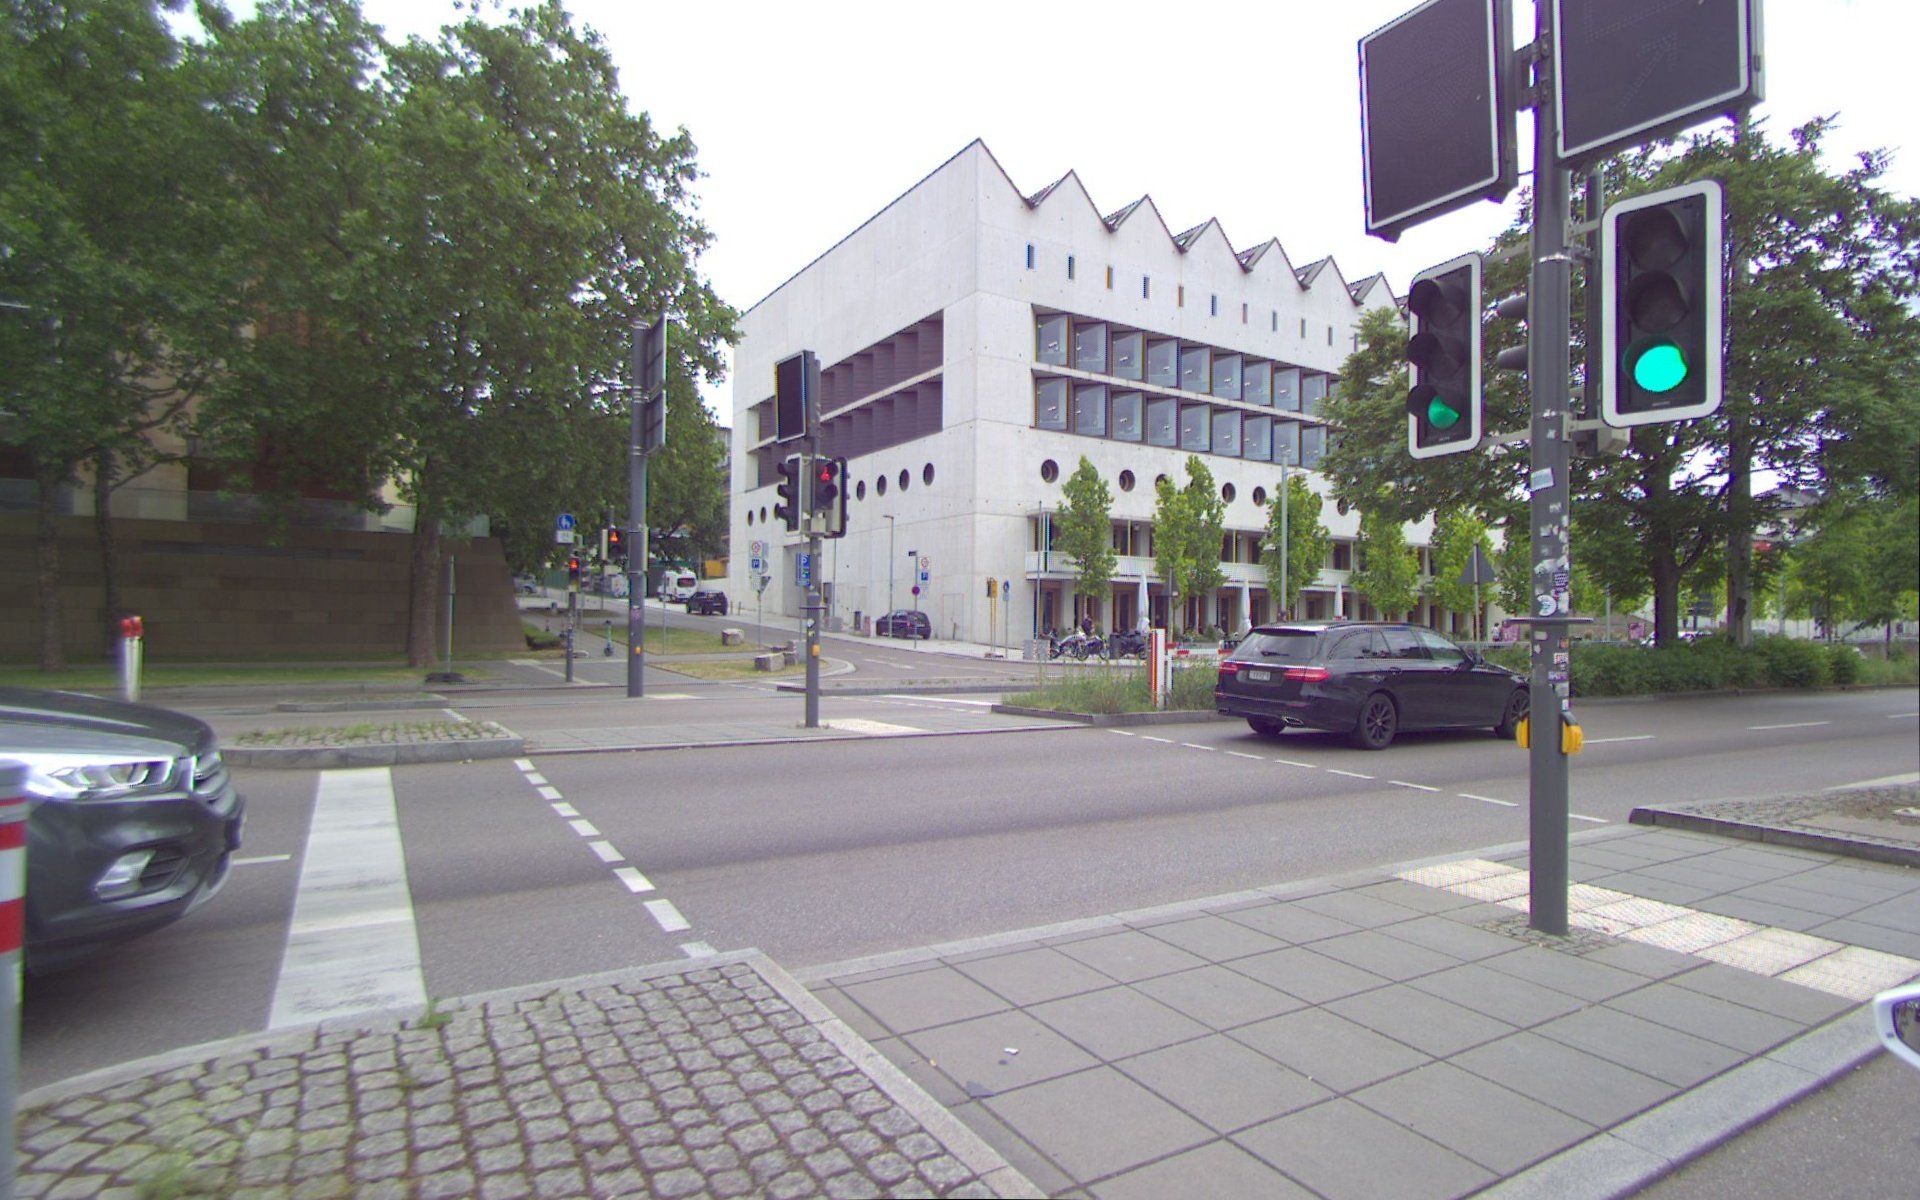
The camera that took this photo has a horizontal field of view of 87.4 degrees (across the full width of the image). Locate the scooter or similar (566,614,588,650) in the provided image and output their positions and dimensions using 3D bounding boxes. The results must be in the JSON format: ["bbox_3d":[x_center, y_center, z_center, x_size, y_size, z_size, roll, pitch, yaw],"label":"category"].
[{"bbox_3d":[-14.745,1.219,38.669,0.532,1.358,1.407,1,-1,-31],"label":"scooter or similar"}]

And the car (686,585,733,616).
[{"bbox_3d":[-17.257,-0.009,69.093,1.977,1.874,3.966,2,2,-31],"label":"car"}]

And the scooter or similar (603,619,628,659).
[{"bbox_3d":[-12.144,1.362,35.375,0.532,1.358,1.407,1,-1,-31],"label":"scooter or similar"}]

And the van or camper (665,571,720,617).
[{"bbox_3d":[-21.442,-0.541,80.252,2.371,3.391,6.276,2,1,-32],"label":"van or camper"}]

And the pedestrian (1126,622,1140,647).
[{"bbox_3d":[9.577,1.918,55.501,0.559,1.344,0.516,3,-3,-31],"label":"pedestrian"}]

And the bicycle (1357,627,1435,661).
[{"bbox_3d":[22.745,2.287,52.471,1.174,1.706,3.581,1,-2,-42],"label":"bicycle"}]

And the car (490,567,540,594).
[{"bbox_3d":[-37.488,-1.623,84.617,3.640,2.040,1.576,1,-1,-30],"label":"car"}]

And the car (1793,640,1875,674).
[{"bbox_3d":[41.606,2.715,47.819,3.953,1.481,1.747,2,1,-30],"label":"car"}]

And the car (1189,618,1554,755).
[{"bbox_3d":[5.391,1.046,12.966,4.806,1.479,1.804,2,-2,-30],"label":"car"}]

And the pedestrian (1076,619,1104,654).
[{"bbox_3d":[6.161,1.749,47.707,0.752,1.589,1.094,2,1,-28],"label":"pedestrian"}]

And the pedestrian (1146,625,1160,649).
[{"bbox_3d":[10.889,2.081,56.701,0.559,1.344,0.516,3,-3,-31],"label":"pedestrian"}]

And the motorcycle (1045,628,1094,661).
[{"bbox_3d":[4.365,1.770,40.108,1.858,1.249,0.657,0,-4,34],"label":"motorcycle"}]

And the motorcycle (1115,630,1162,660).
[{"bbox_3d":[7.654,1.928,43.027,1.858,1.249,0.657,0,-4,34],"label":"motorcycle"}]

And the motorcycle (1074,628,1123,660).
[{"bbox_3d":[5.635,1.790,40.985,1.858,1.249,0.657,0,-4,34],"label":"motorcycle"}]

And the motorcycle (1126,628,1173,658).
[{"bbox_3d":[8.256,1.865,43.758,1.858,1.249,0.657,0,-4,34],"label":"motorcycle"}]

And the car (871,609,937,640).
[{"bbox_3d":[-2.951,1.231,51.915,1.732,1.293,3.965,2,2,-31],"label":"car"}]

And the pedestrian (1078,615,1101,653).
[{"bbox_3d":[5.508,1.444,42.647,0.865,1.577,0.598,0,-1,16],"label":"pedestrian"}]

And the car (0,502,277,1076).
[{"bbox_3d":[-4.788,0.538,2.889,4.609,1.738,1.882,1,0,-34],"label":"car"}]

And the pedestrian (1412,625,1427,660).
[{"bbox_3d":[27.483,2.552,60.034,0.699,2.039,0.738,3,-2,27],"label":"pedestrian"}]

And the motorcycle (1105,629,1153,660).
[{"bbox_3d":[7.102,1.857,42.232,1.858,1.249,0.657,0,-4,34],"label":"motorcycle"}]
